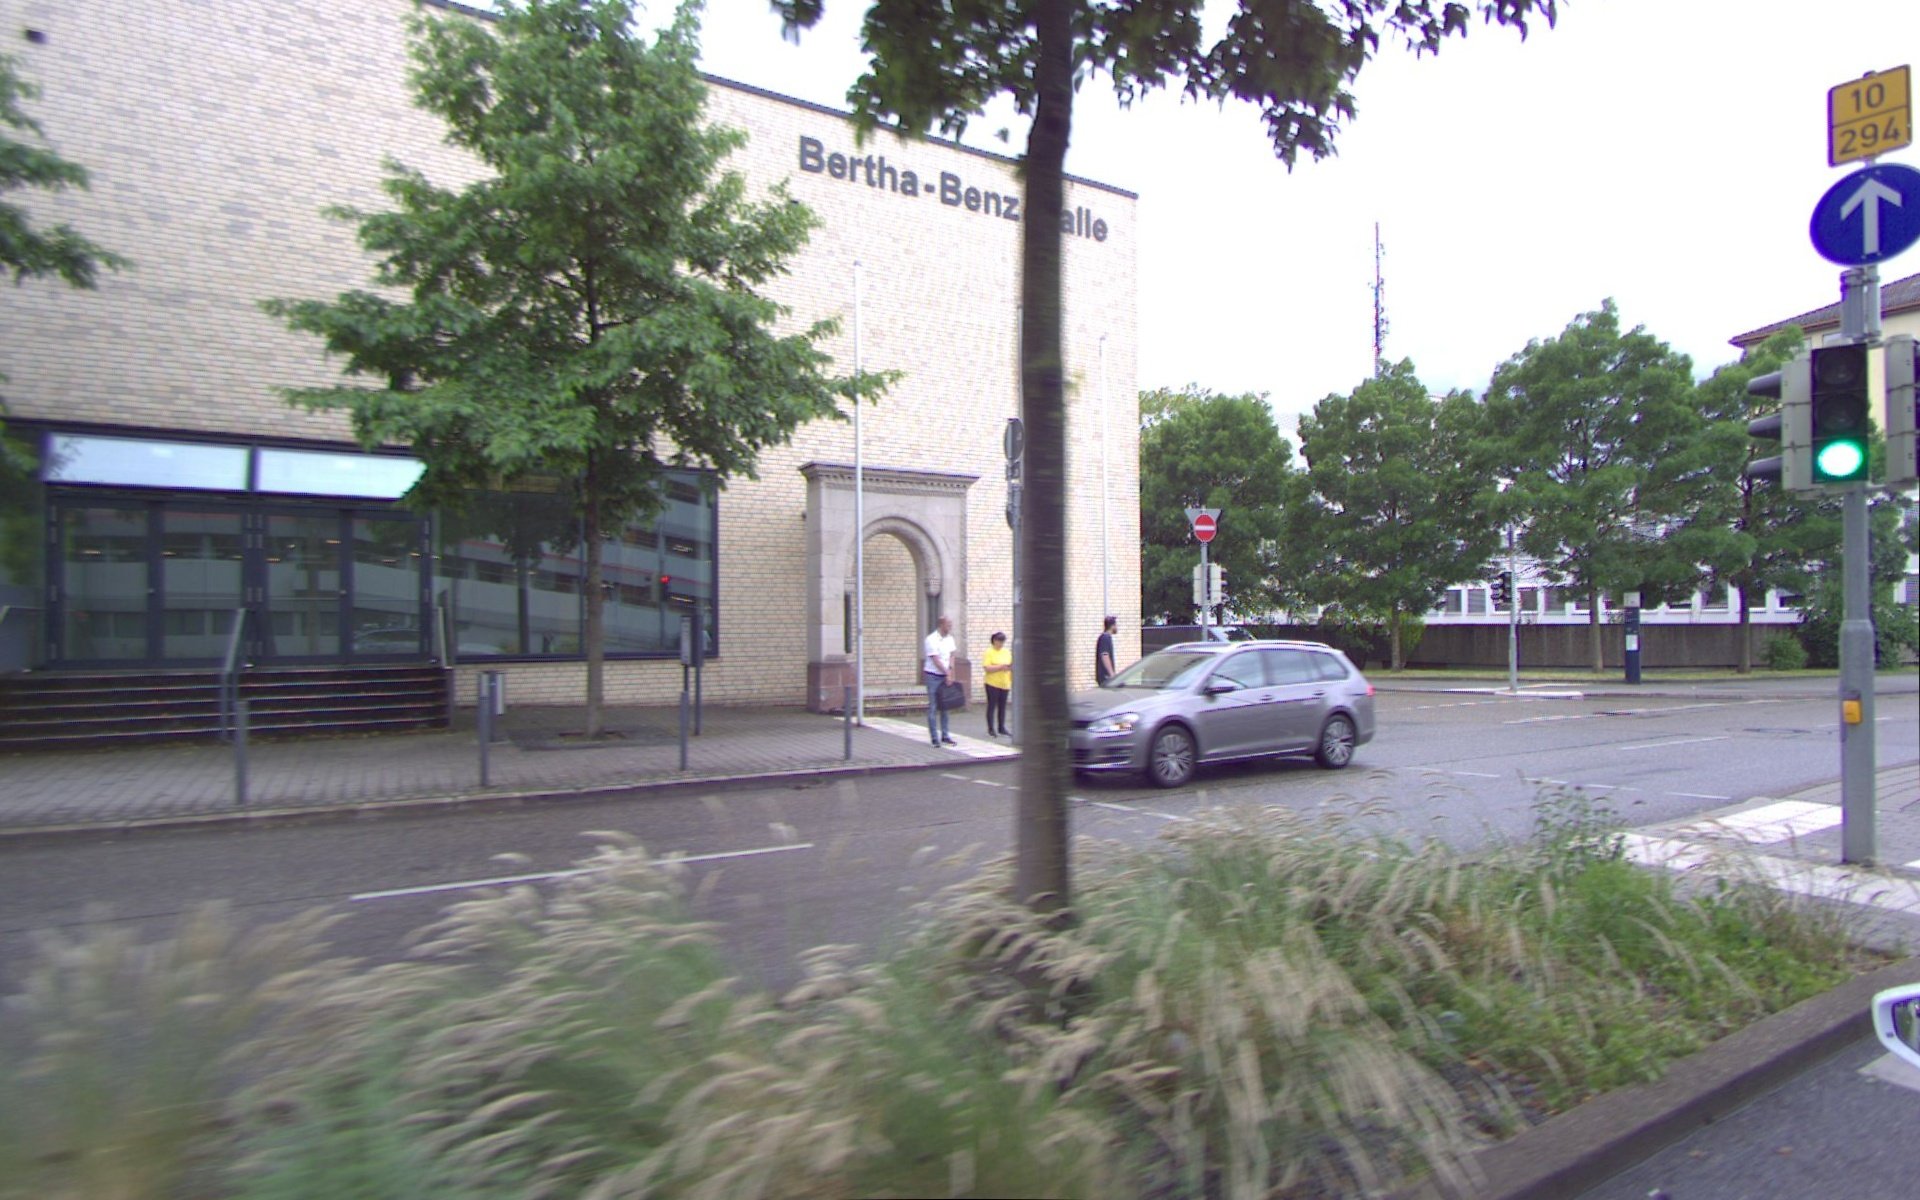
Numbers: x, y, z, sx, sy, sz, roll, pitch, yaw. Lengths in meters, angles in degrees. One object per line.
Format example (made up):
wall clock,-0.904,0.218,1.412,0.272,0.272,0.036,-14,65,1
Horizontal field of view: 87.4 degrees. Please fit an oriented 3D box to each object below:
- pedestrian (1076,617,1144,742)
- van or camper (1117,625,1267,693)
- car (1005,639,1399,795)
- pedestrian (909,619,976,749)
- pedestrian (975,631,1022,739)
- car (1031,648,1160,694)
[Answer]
pedestrian,2.207,1.144,14.776,0.712,1.781,0.681,1,-2,-41
van or camper,7.235,1.794,31.809,1.999,1.957,4.717,1,-2,-30
car,2.853,1.213,11.580,4.384,1.448,1.838,1,-3,-31
pedestrian,-0.233,1.102,13.464,0.684,1.678,0.608,1,-2,-32
pedestrian,0.567,1.232,14.743,0.540,1.554,0.436,1,-2,-32
car,4.161,2.175,31.483,1.827,1.225,4.238,1,-2,-30
